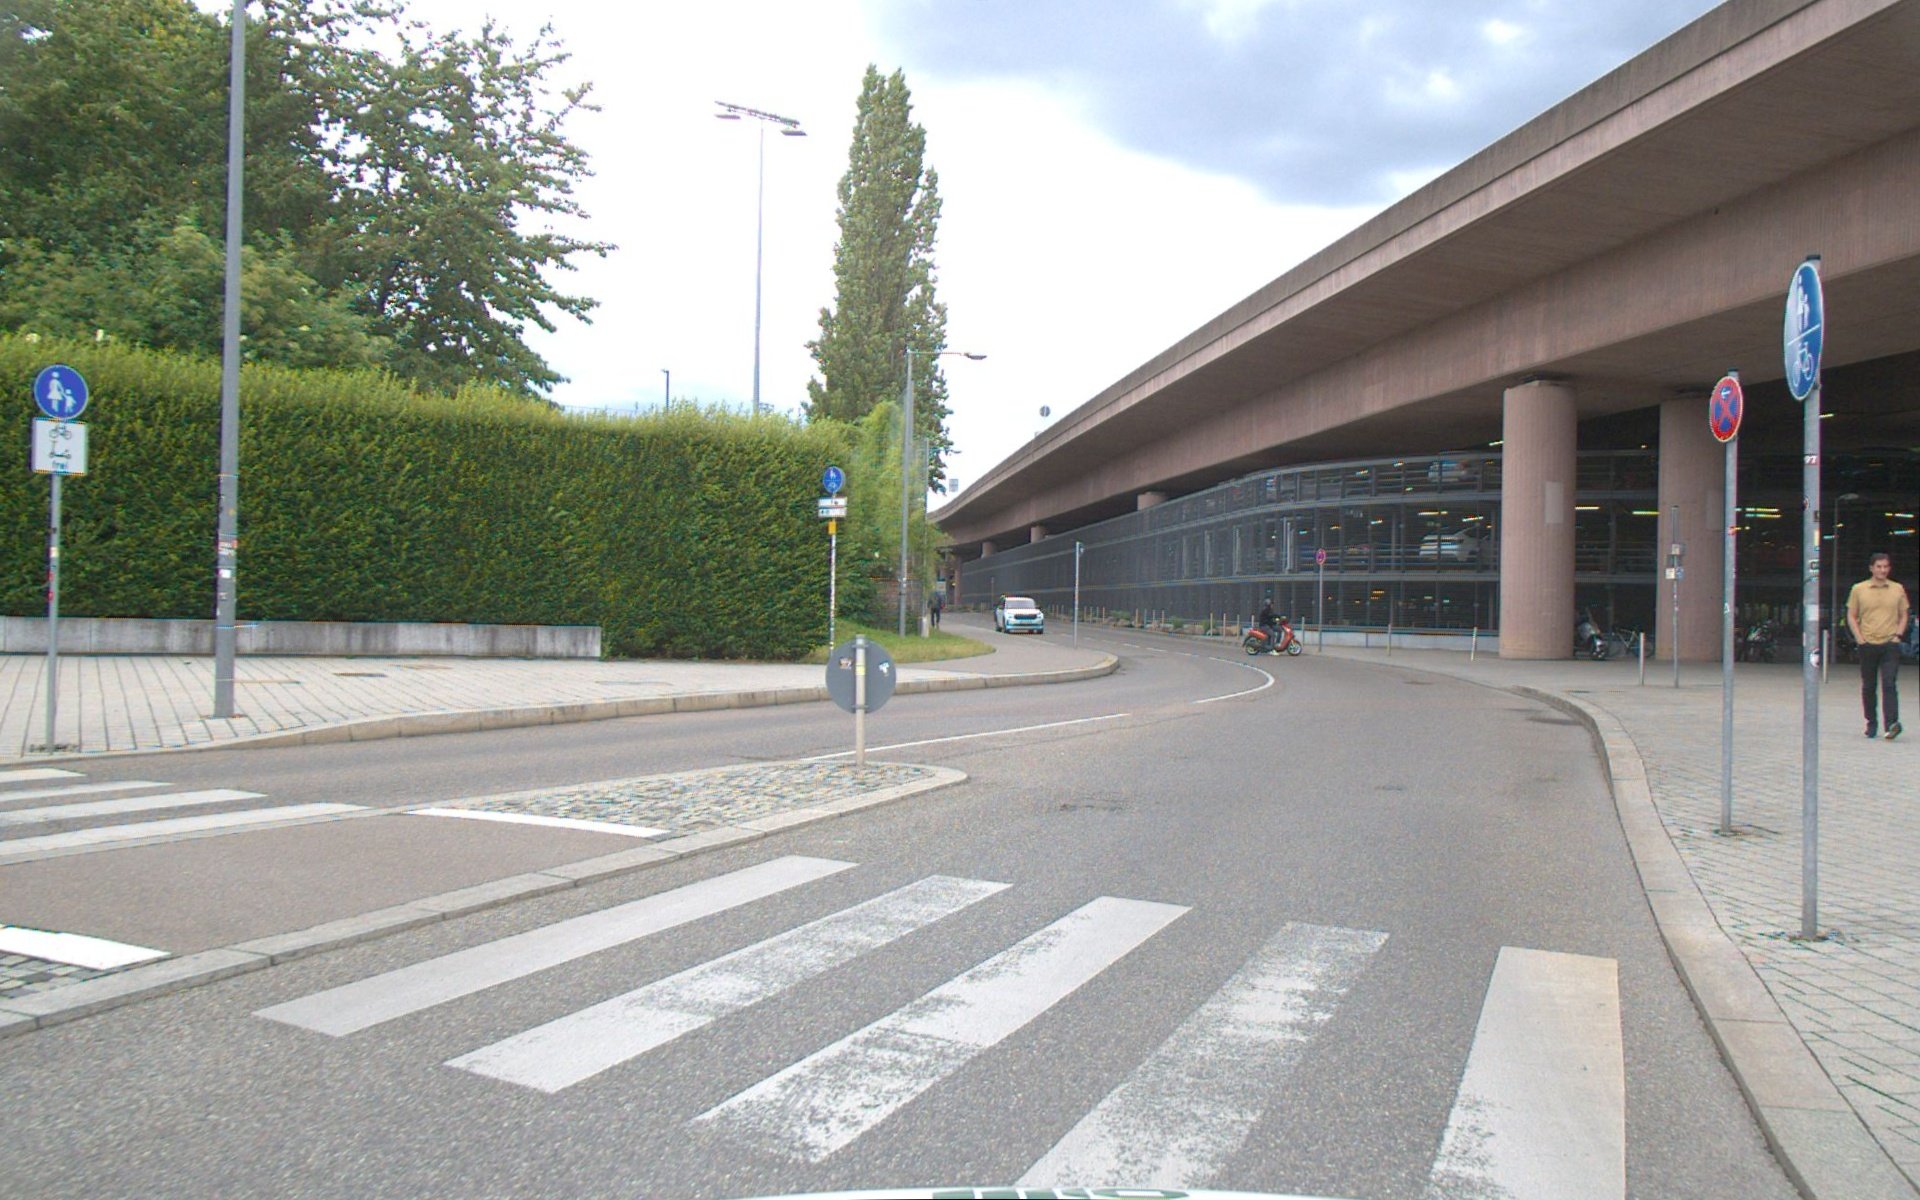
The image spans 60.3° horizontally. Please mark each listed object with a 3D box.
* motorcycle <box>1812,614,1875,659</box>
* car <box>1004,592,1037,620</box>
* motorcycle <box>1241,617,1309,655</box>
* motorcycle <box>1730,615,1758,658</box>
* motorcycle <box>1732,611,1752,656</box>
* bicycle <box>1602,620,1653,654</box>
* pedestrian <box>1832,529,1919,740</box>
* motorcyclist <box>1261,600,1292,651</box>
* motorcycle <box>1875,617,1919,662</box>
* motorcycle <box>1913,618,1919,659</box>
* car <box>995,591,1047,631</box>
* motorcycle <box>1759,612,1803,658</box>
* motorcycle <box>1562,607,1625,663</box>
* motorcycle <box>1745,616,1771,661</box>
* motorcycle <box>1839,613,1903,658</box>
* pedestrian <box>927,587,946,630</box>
[{"bbox_3d":[26.295,1.084,49.265,0.658,1.241,2.077,1,1,-4],"label":"motorcycle"},{"bbox_3d":[4.023,0.389,110.151,1.803,1.741,3.703,1,1,-4],"label":"car"},{"bbox_3d":[9.188,1.043,48.234,1.908,1.040,0.749,1,1,13],"label":"motorcycle"},{"bbox_3d":[23.517,1.077,49.611,0.509,1.241,1.151,1,1,13],"label":"motorcycle"},{"bbox_3d":[22.723,0.968,48.050,0.510,1.241,1.149,1,1,26],"label":"motorcycle"},{"bbox_3d":[20.867,1.156,51.727,1.442,0.993,0.452,1,1,22],"label":"bicycle"},{"bbox_3d":[9.278,0.325,16.728,0.767,2.048,1.038,1,1,28],"label":"pedestrian"},{"bbox_3d":[9.232,0.740,48.228,0.848,1.444,0.765,1,1,13],"label":"motorcyclist"},{"bbox_3d":[28.370,1.169,49.541,0.658,1.241,2.077,1,1,-4],"label":"motorcycle"},{"bbox_3d":[29.373,1.185,49.262,0.658,1.241,2.077,1,1,-4],"label":"motorcycle"},{"bbox_3d":[2.808,0.481,77.145,1.828,1.713,4.400,1,1,-6],"label":"car"},{"bbox_3d":[24.120,1.007,48.614,0.812,1.241,2.080,1,1,17],"label":"motorcycle"},{"bbox_3d":[17.711,0.953,46.288,0.632,1.480,1.752,0,1,-20],"label":"motorcycle"},{"bbox_3d":[22.056,1.068,45.730,0.511,1.191,1.147,1,-1,31],"label":"motorcycle"},{"bbox_3d":[27.194,1.035,49.419,0.658,1.241,2.077,1,1,-4],"label":"motorcycle"},{"bbox_3d":[-1.002,0.352,71.077,0.787,1.812,0.920,1,1,-3],"label":"pedestrian"}]
